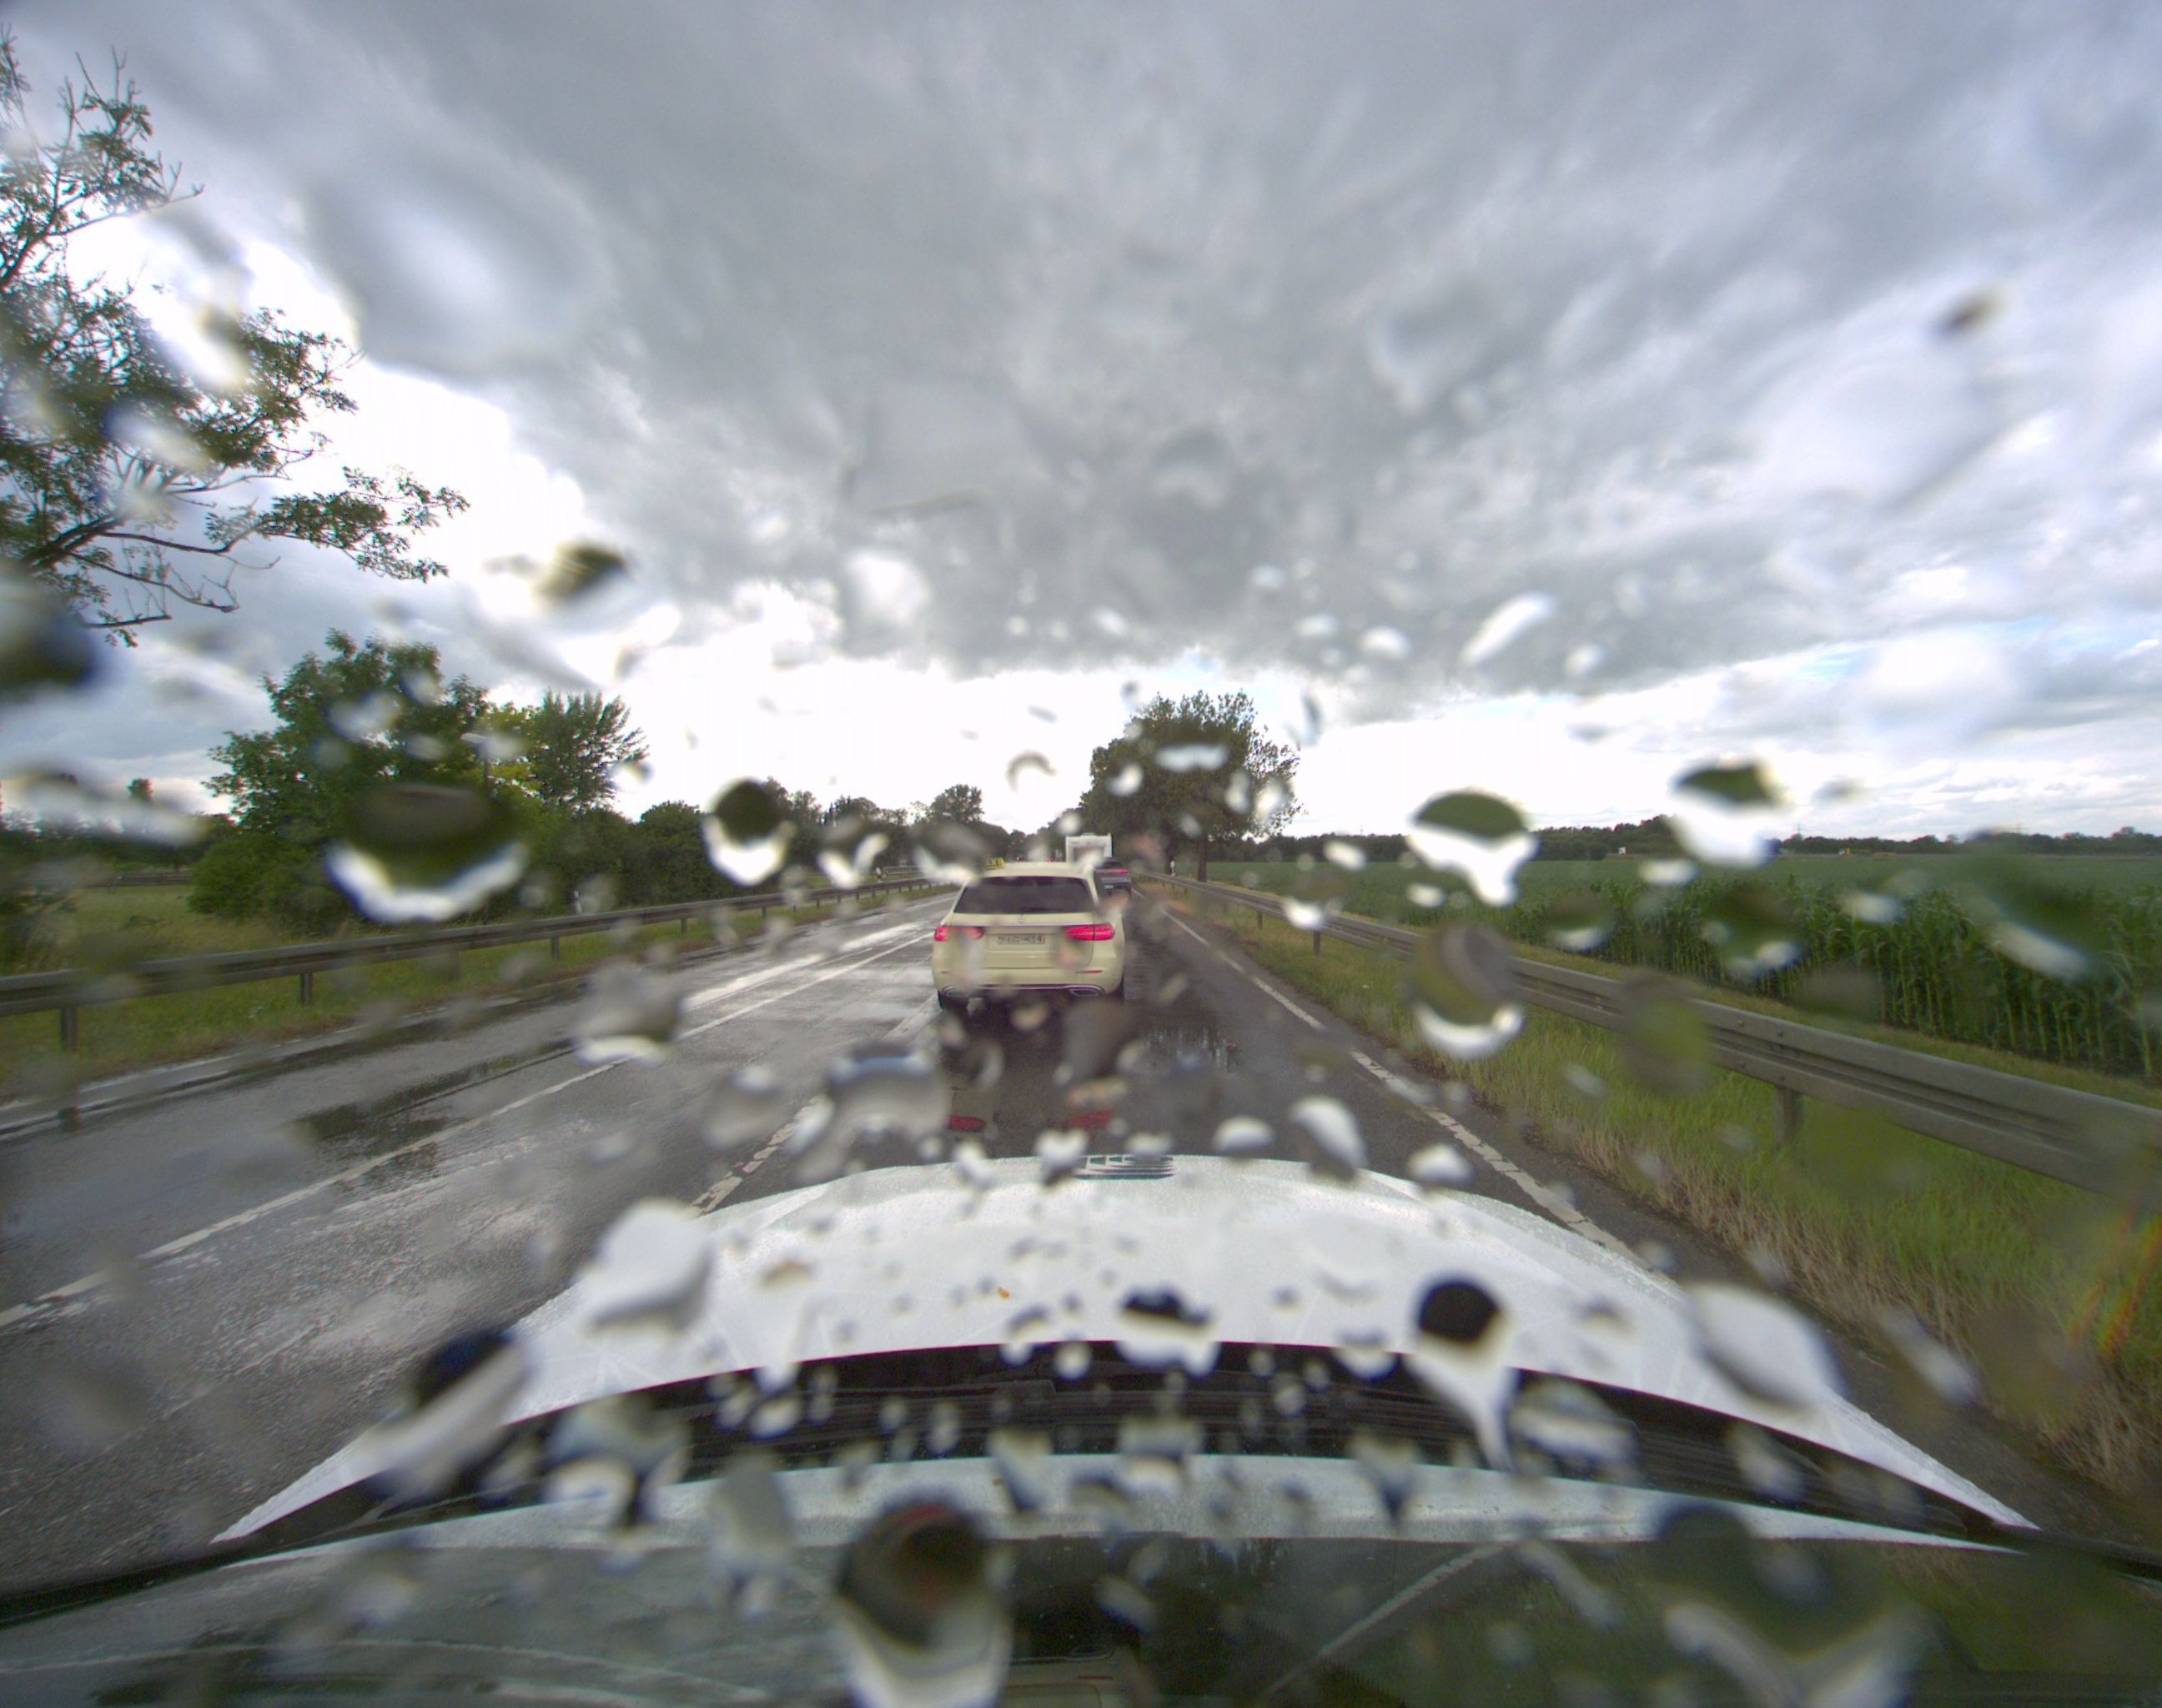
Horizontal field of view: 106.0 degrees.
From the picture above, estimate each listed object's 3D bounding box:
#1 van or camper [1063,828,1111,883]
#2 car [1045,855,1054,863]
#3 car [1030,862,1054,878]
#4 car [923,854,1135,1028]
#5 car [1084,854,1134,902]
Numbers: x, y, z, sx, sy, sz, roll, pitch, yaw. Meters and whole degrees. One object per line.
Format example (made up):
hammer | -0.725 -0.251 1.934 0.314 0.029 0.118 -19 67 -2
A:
van or camper | 0.368 0.069 42.602 2.342 2.680 5.770 0 0 2
car | -7.990 1.271 209.317 1.986 2.051 4.002 0 0 2
car | -3.296 1.348 69.246 1.752 1.269 4.001 -1 0 2
car | -0.353 0.760 9.104 1.817 1.485 4.148 -1 0 3
car | 0.962 0.776 28.529 1.621 1.529 3.934 -1 0 2
